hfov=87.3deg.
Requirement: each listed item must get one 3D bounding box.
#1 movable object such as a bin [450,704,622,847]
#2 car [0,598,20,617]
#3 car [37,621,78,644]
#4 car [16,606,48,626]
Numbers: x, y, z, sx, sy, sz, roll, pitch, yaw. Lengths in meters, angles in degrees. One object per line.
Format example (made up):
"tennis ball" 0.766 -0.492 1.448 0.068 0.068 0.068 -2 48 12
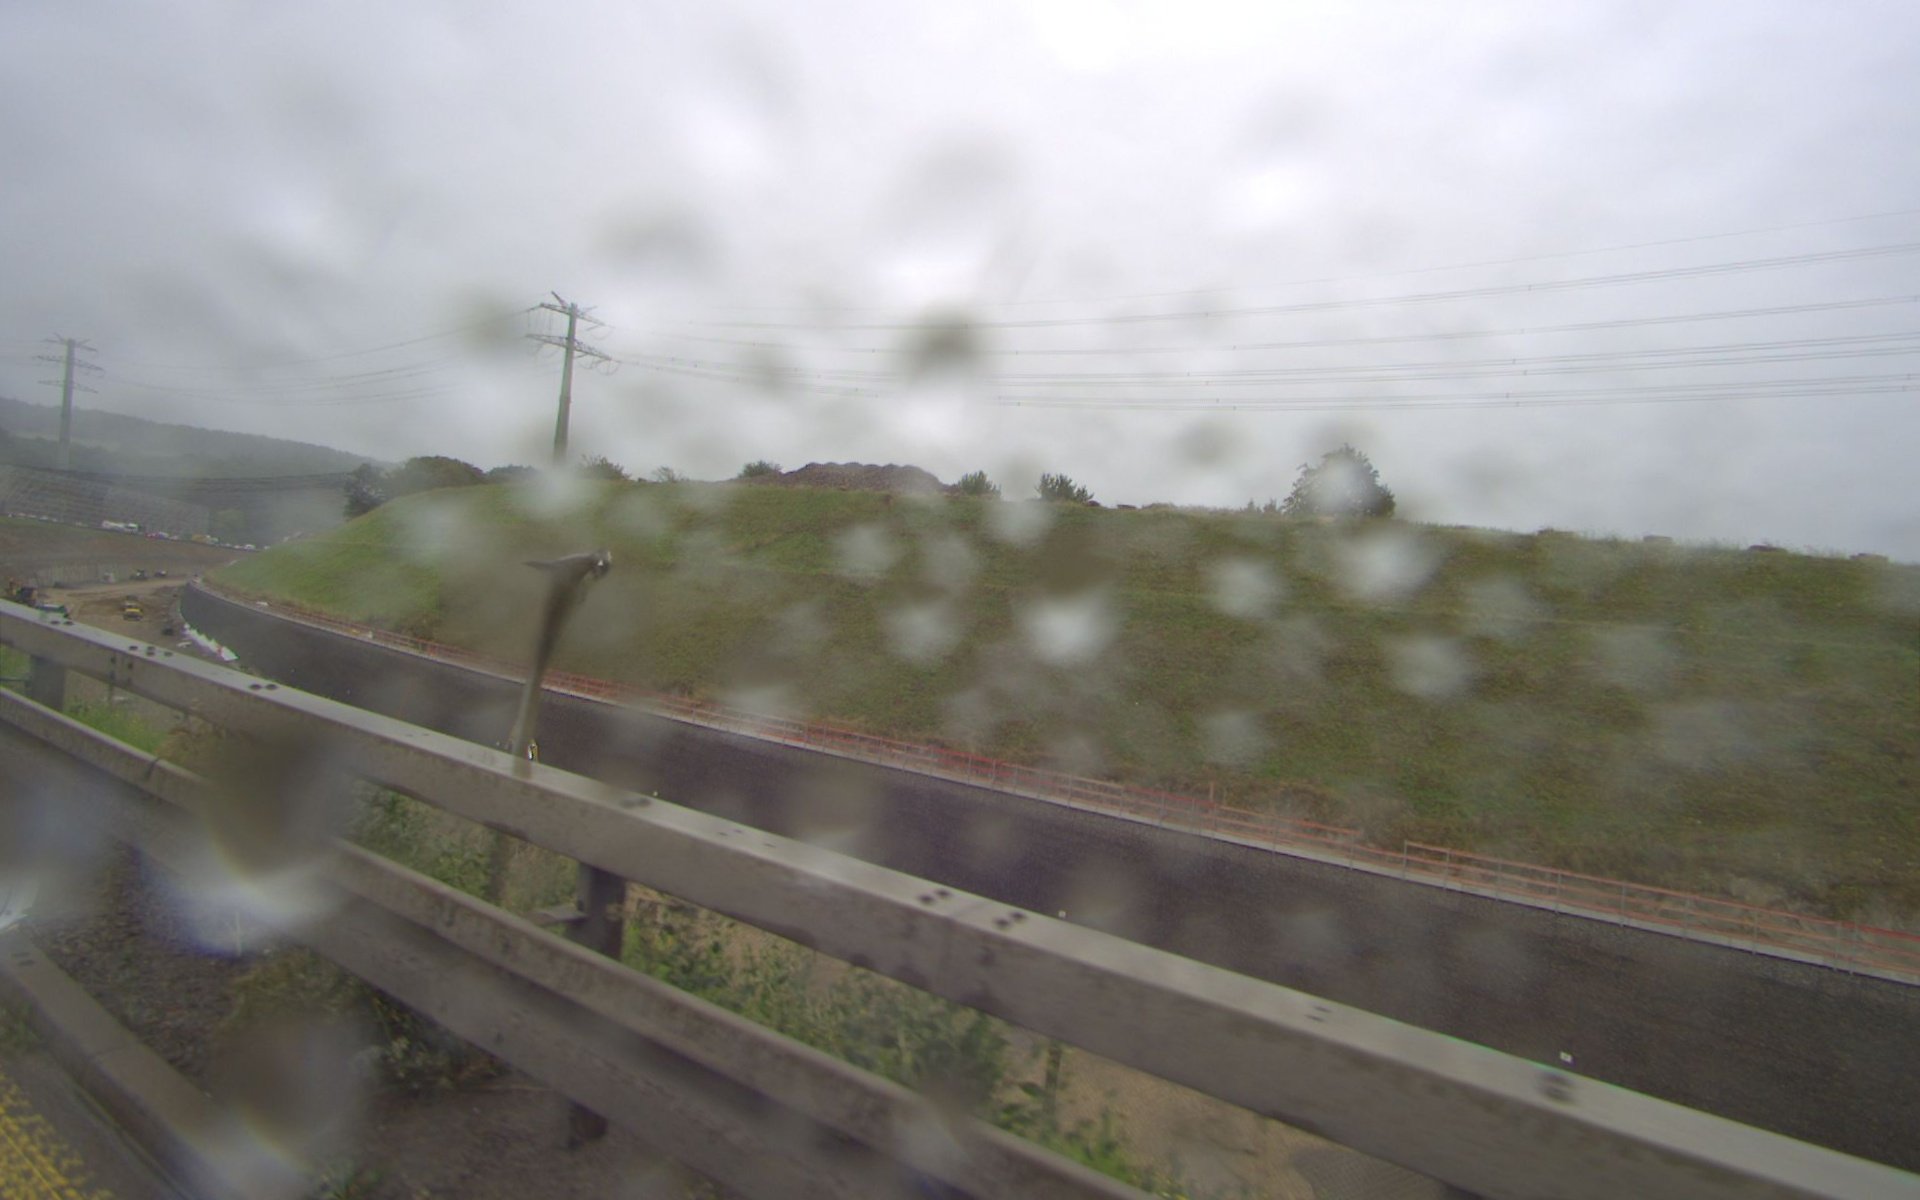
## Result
"movable object such as a bin" -14.569 5.924 34.652 4.053 3.910 3.222 8 -2 31
"car" -131.704 1.052 139.366 1.989 2.037 3.952 9 -2 -43
"car" -100.868 3.630 112.469 3.936 2.037 2.369 7 -2 34
"car" -114.027 1.953 123.611 3.938 1.837 1.995 6 -1 36
